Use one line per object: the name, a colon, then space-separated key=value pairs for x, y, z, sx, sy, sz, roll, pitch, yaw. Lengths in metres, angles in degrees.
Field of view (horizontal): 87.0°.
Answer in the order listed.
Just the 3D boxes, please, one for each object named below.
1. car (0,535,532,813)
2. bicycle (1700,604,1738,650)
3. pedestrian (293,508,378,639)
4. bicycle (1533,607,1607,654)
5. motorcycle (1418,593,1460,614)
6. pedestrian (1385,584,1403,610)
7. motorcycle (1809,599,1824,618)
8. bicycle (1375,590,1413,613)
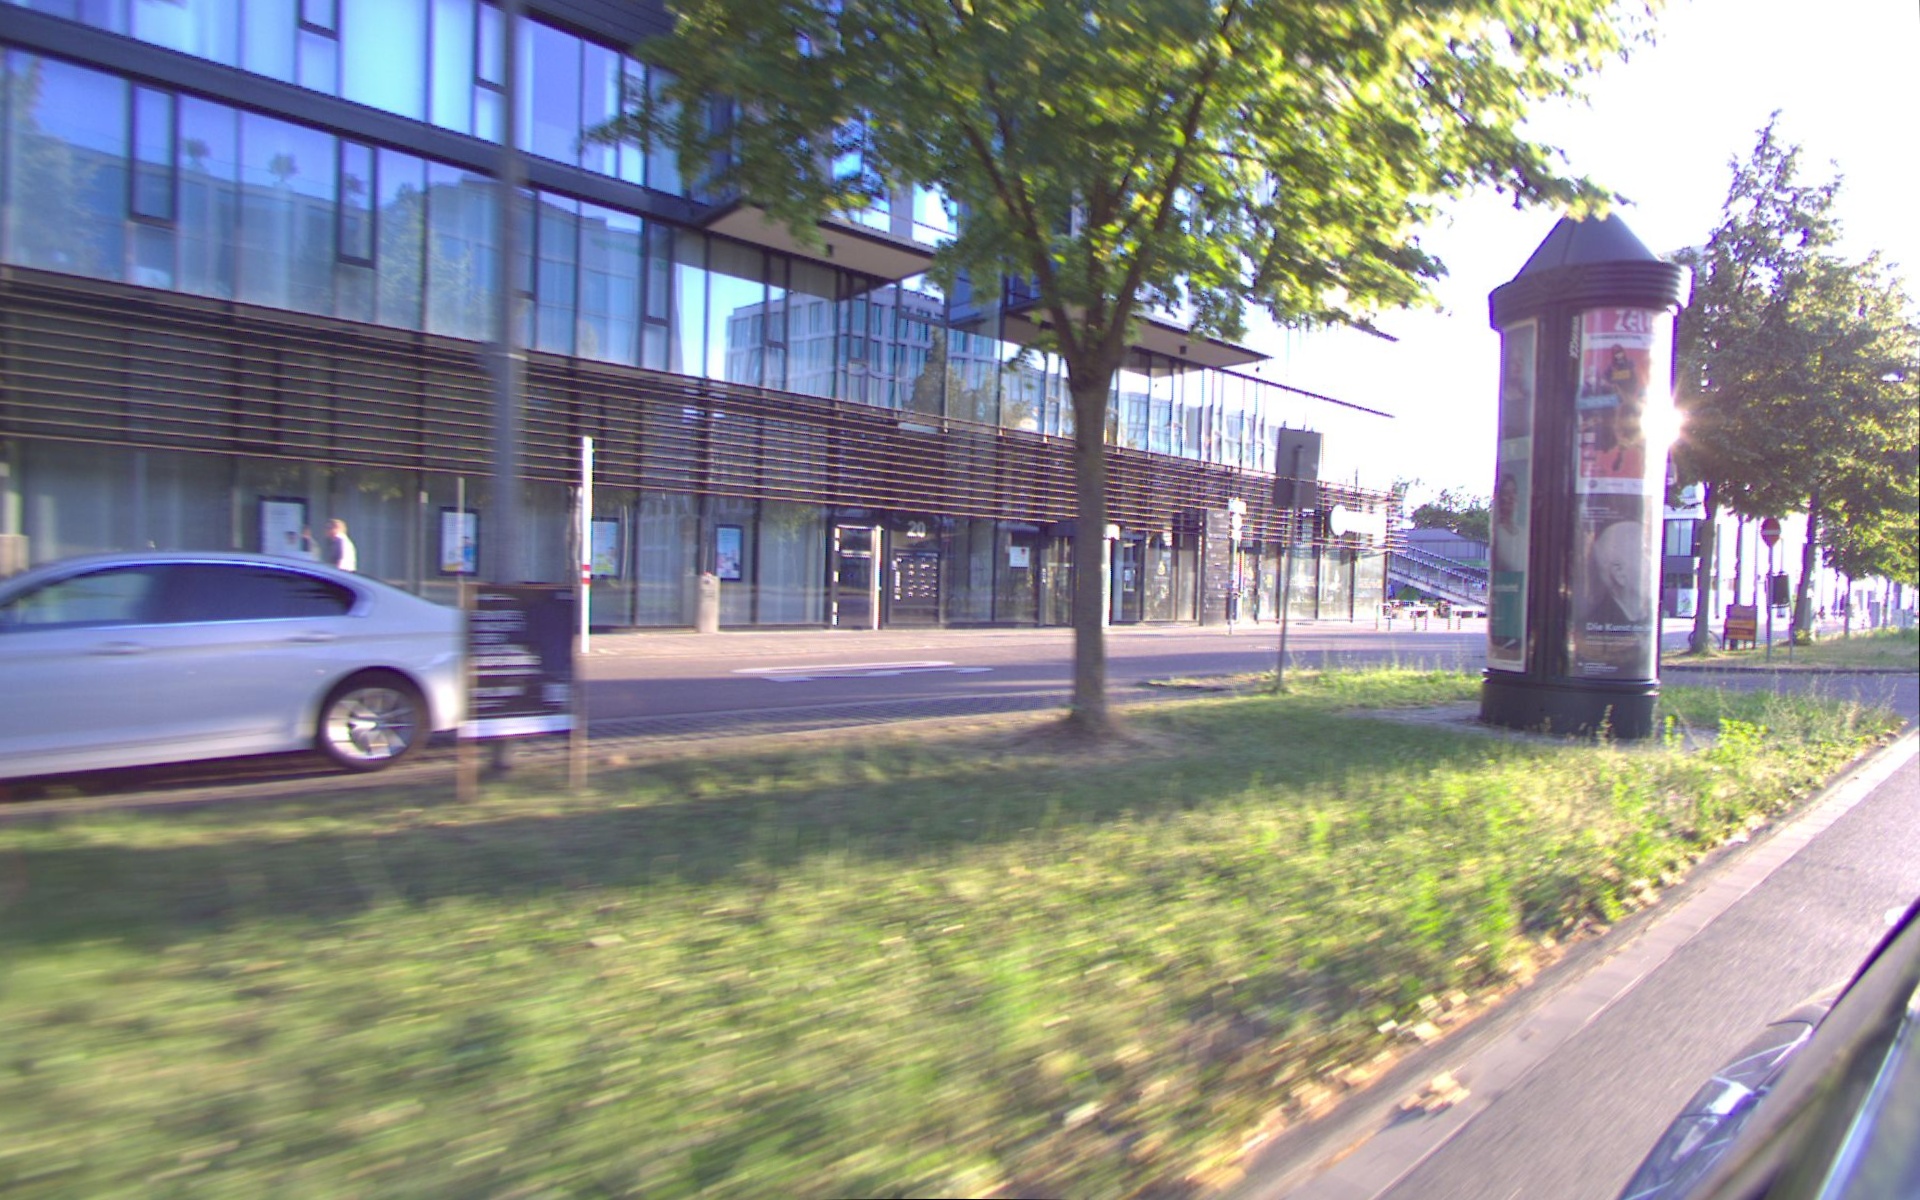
car: x=-5.610 y=0.386 z=6.474 sx=4.955 sy=1.515 sz=1.920 roll=0 pitch=1 yaw=-43
bicycle: x=17.924 y=0.618 z=23.876 sx=0.578 sy=1.007 sz=1.662 roll=2 pitch=2 yaw=41
pedestrian: x=-9.104 y=-0.385 z=14.755 sx=0.897 sy=1.819 sz=0.898 roll=1 pitch=1 yaw=-42
bicycle: x=13.329 y=0.649 z=22.160 sx=0.355 sy=0.921 sz=1.726 roll=2 pitch=1 yaw=-8
motorcycle: x=26.581 y=0.202 z=56.149 sx=2.637 sy=1.056 sz=0.734 roll=1 pitch=1 yaw=-30
pedestrian: x=30.802 y=-0.213 z=71.877 sx=0.896 sy=1.867 sz=0.825 roll=2 pitch=1 yaw=43
motorcycle: x=77.712 y=0.750 z=91.787 sx=2.086 sy=1.720 sz=0.690 roll=1 pitch=1 yaw=-42
bicycle: x=25.562 y=0.100 z=59.564 sx=2.400 sy=1.252 sz=0.734 roll=1 pitch=1 yaw=-30
